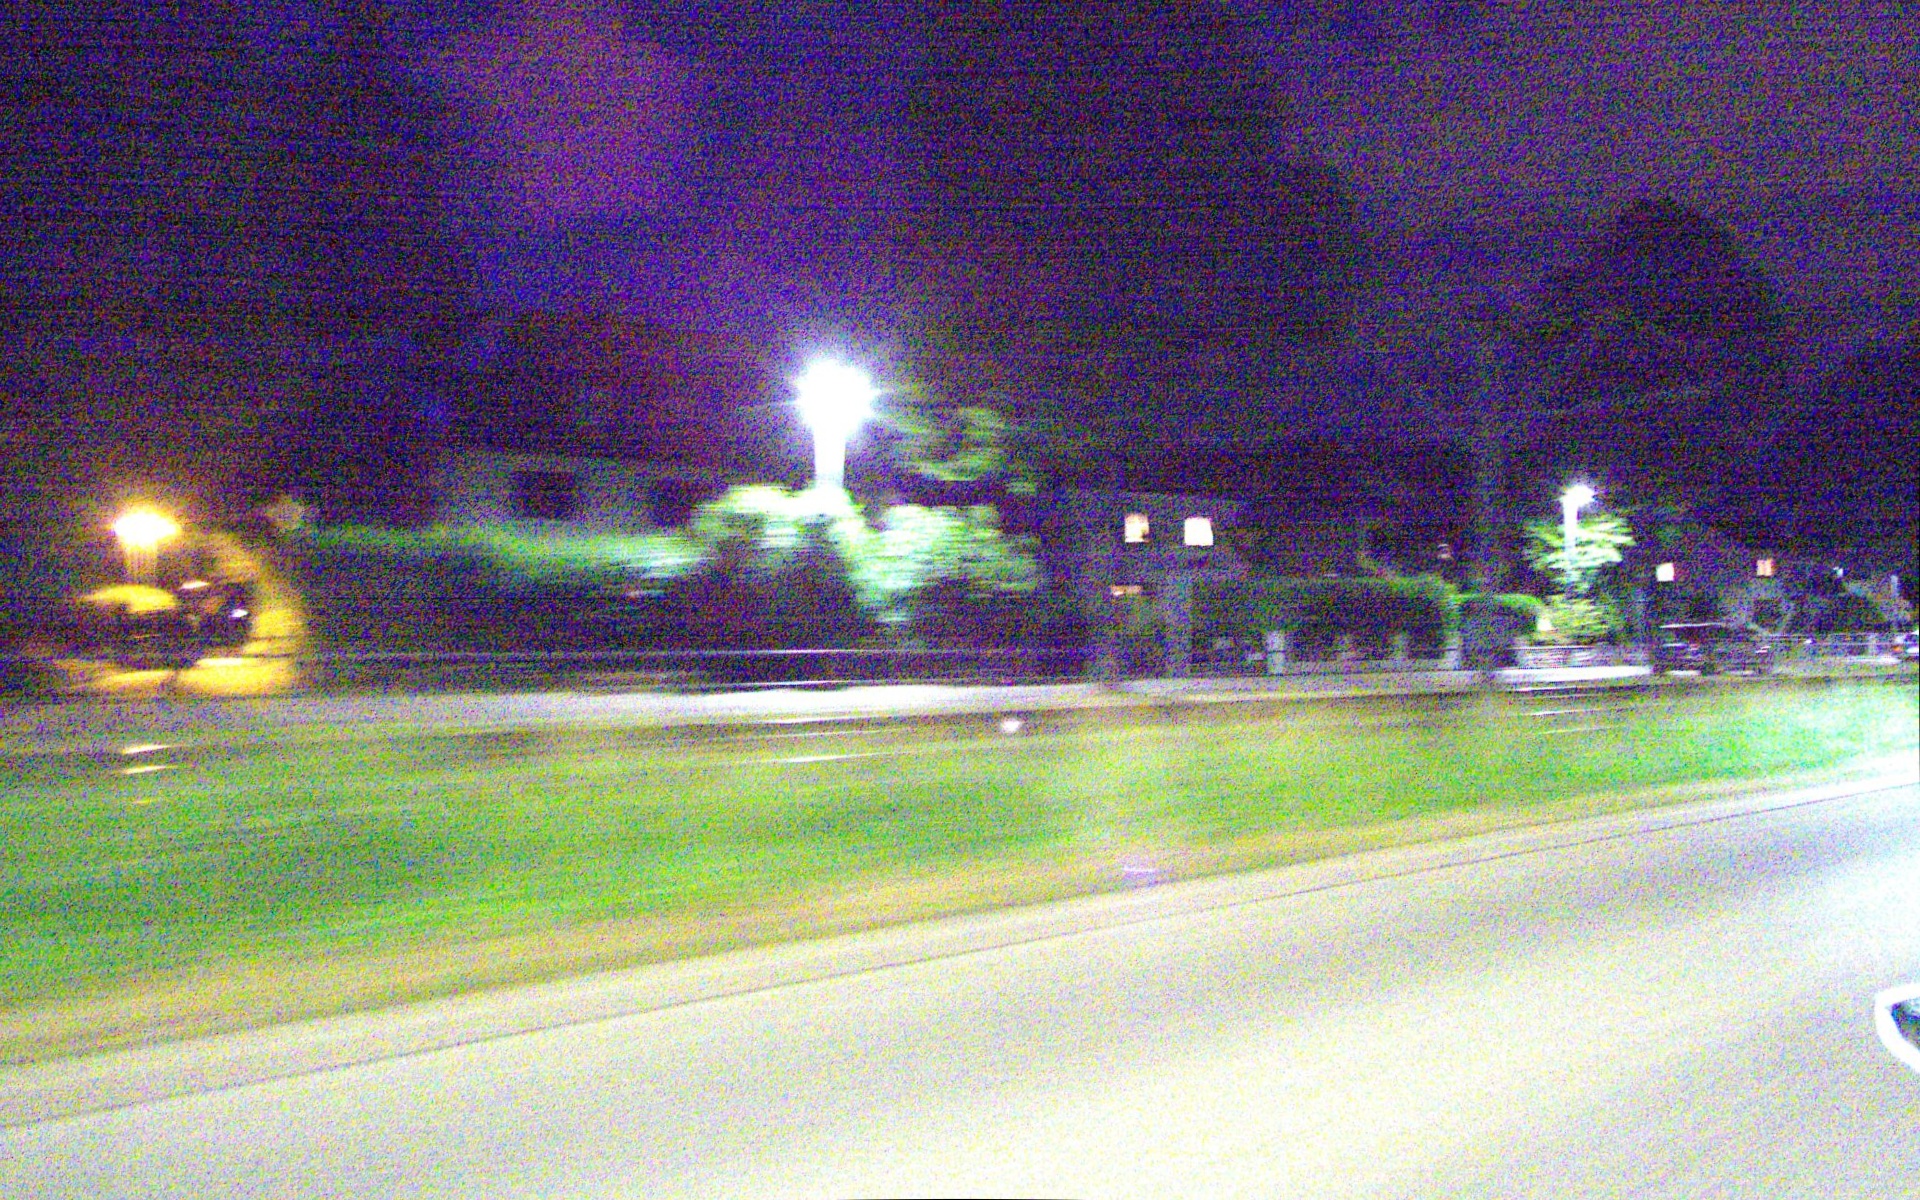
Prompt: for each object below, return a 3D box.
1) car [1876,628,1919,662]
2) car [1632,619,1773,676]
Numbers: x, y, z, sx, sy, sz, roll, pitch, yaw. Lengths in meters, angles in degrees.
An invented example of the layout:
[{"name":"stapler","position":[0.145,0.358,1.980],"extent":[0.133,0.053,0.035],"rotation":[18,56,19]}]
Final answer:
[{"name":"car","position":[39.964,1.848,41.306],"extent":[5.370,1.356,1.983],"rotation":[2,-1,-31]},{"name":"car","position":[23.183,1.451,31.328],"extent":[4.624,1.649,1.983],"rotation":[2,-1,-31]}]
